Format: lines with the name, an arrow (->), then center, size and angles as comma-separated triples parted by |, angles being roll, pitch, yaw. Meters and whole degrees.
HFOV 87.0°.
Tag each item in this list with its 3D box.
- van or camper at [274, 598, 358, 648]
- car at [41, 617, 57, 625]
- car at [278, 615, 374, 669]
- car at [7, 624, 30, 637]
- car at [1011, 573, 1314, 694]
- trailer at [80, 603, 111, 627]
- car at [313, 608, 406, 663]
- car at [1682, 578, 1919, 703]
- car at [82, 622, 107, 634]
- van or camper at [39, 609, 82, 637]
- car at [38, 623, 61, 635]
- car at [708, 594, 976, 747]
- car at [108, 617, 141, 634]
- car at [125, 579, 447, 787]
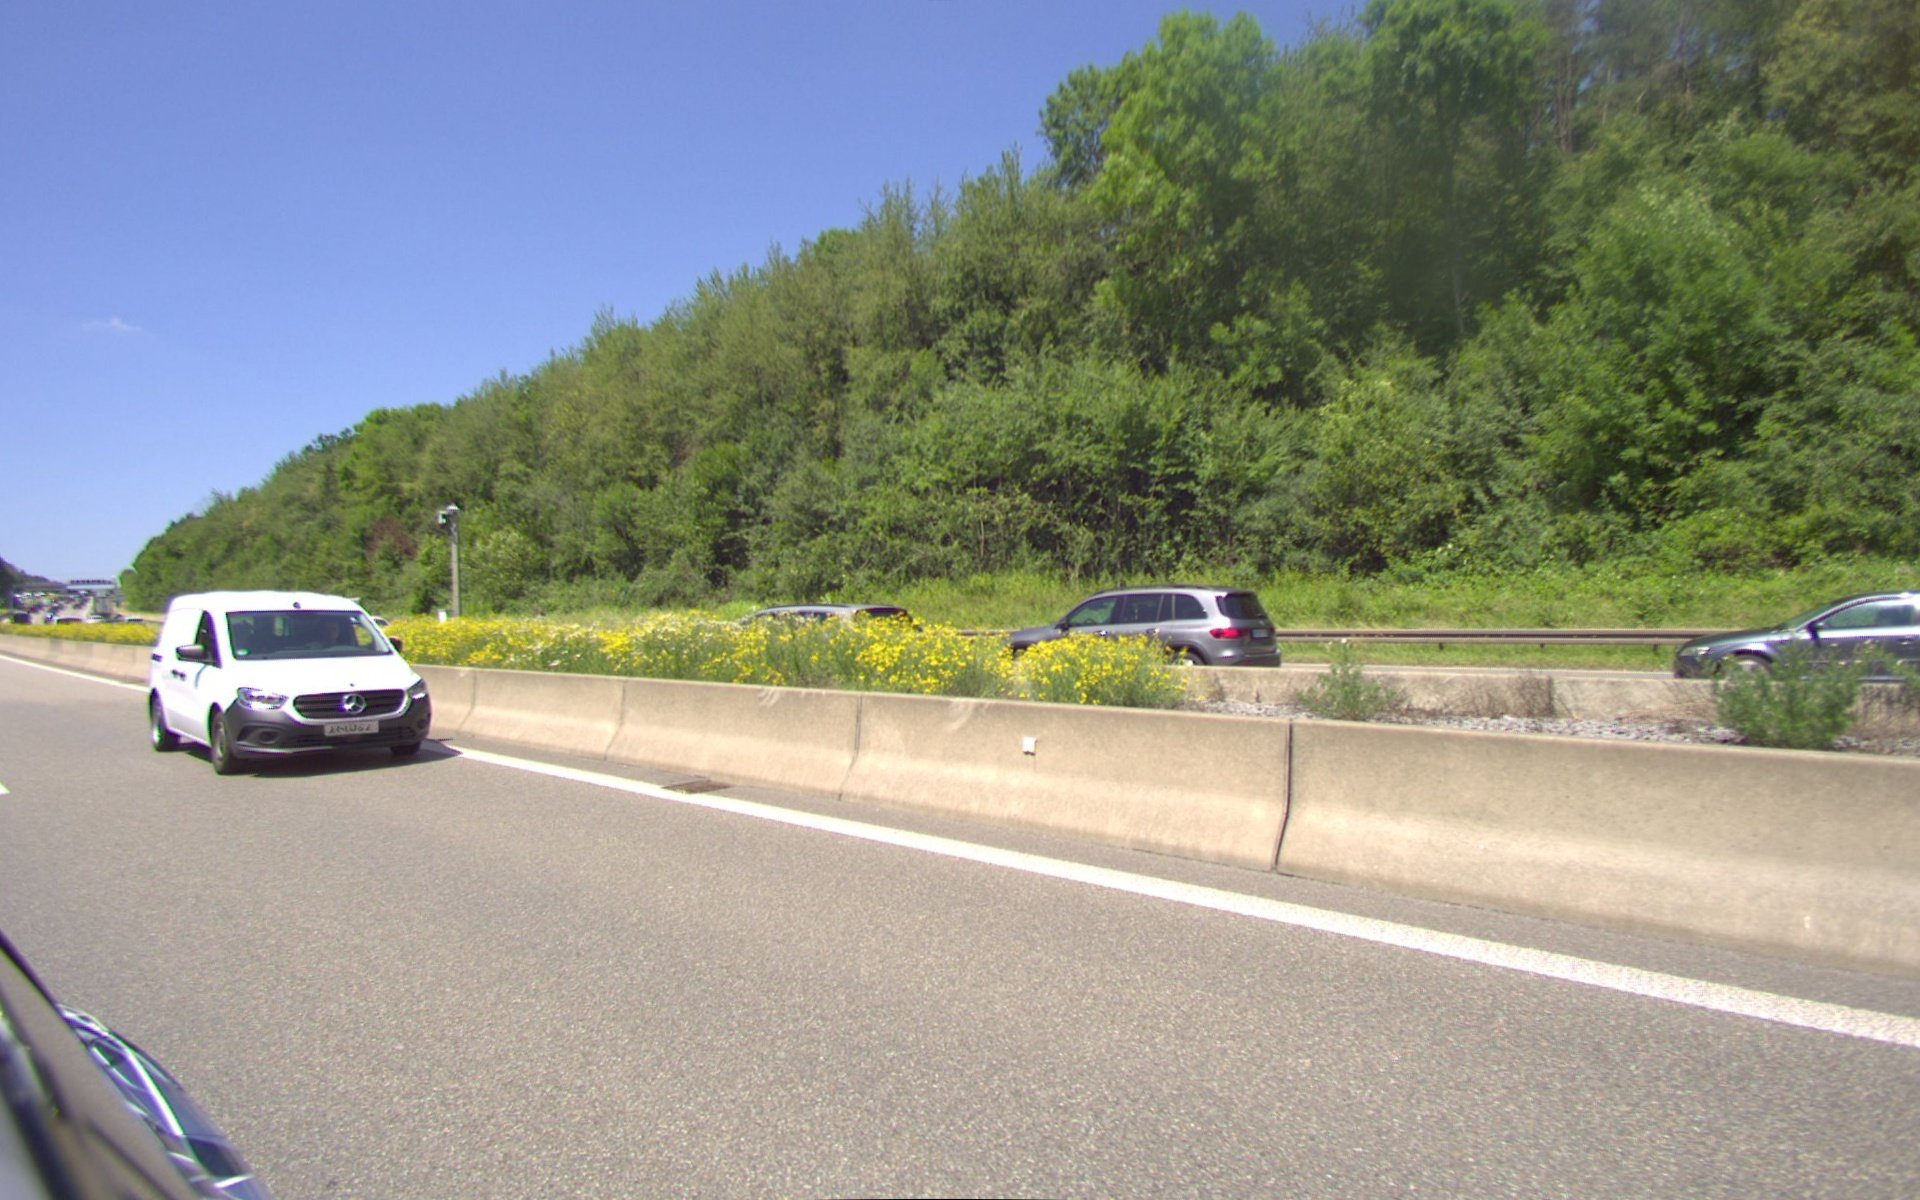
van or camper -> -35.240, 1.204, 55.310 | 6.931, 2.580, 2.162 | 0, 0, 42
car -> -173.300, 3.992, 192.513 | 4.001, 1.584, 1.971 | 0, 0, 43
car -> -18.651, 1.200, 29.728 | 3.562, 1.453, 1.462 | 0, 0, 41
car -> -116.309, 3.754, 125.005 | 1.970, 1.484, 4.877 | 0, 0, -45
car -> 3.017, 0.453, 15.547 | 4.160, 1.602, 1.973 | 0, 0, 41
trailer -> -154.548, 2.636, 180.915 | 13.933, 4.239, 2.685 | 0, 0, 43
car -> -23.856, 1.348, 40.139 | 4.568, 2.029, 1.972 | 0, 0, 43
car -> 11.633, 0.473, 12.749 | 3.998, 1.467, 1.769 | 0, 0, 41
car -> -114.381, 3.710, 133.720 | 4.171, 1.453, 1.972 | 0, 0, 42
van or camper -> -67.717, 1.731, 76.185 | 4.585, 2.029, 1.863 | 0, 0, 41
car -> -121.716, 3.859, 135.311 | 4.001, 1.497, 1.971 | 0, 0, 44
car -> -1.884, 0.941, 15.470 | 4.000, 2.029, 1.972 | 0, 0, 43
car -> -82.475, 2.551, 99.931 | 4.484, 1.629, 1.972 | -2, -1, 43
car -> -7.525, 0.780, 11.095 | 4.671, 1.826, 1.747 | -1, -1, 41
